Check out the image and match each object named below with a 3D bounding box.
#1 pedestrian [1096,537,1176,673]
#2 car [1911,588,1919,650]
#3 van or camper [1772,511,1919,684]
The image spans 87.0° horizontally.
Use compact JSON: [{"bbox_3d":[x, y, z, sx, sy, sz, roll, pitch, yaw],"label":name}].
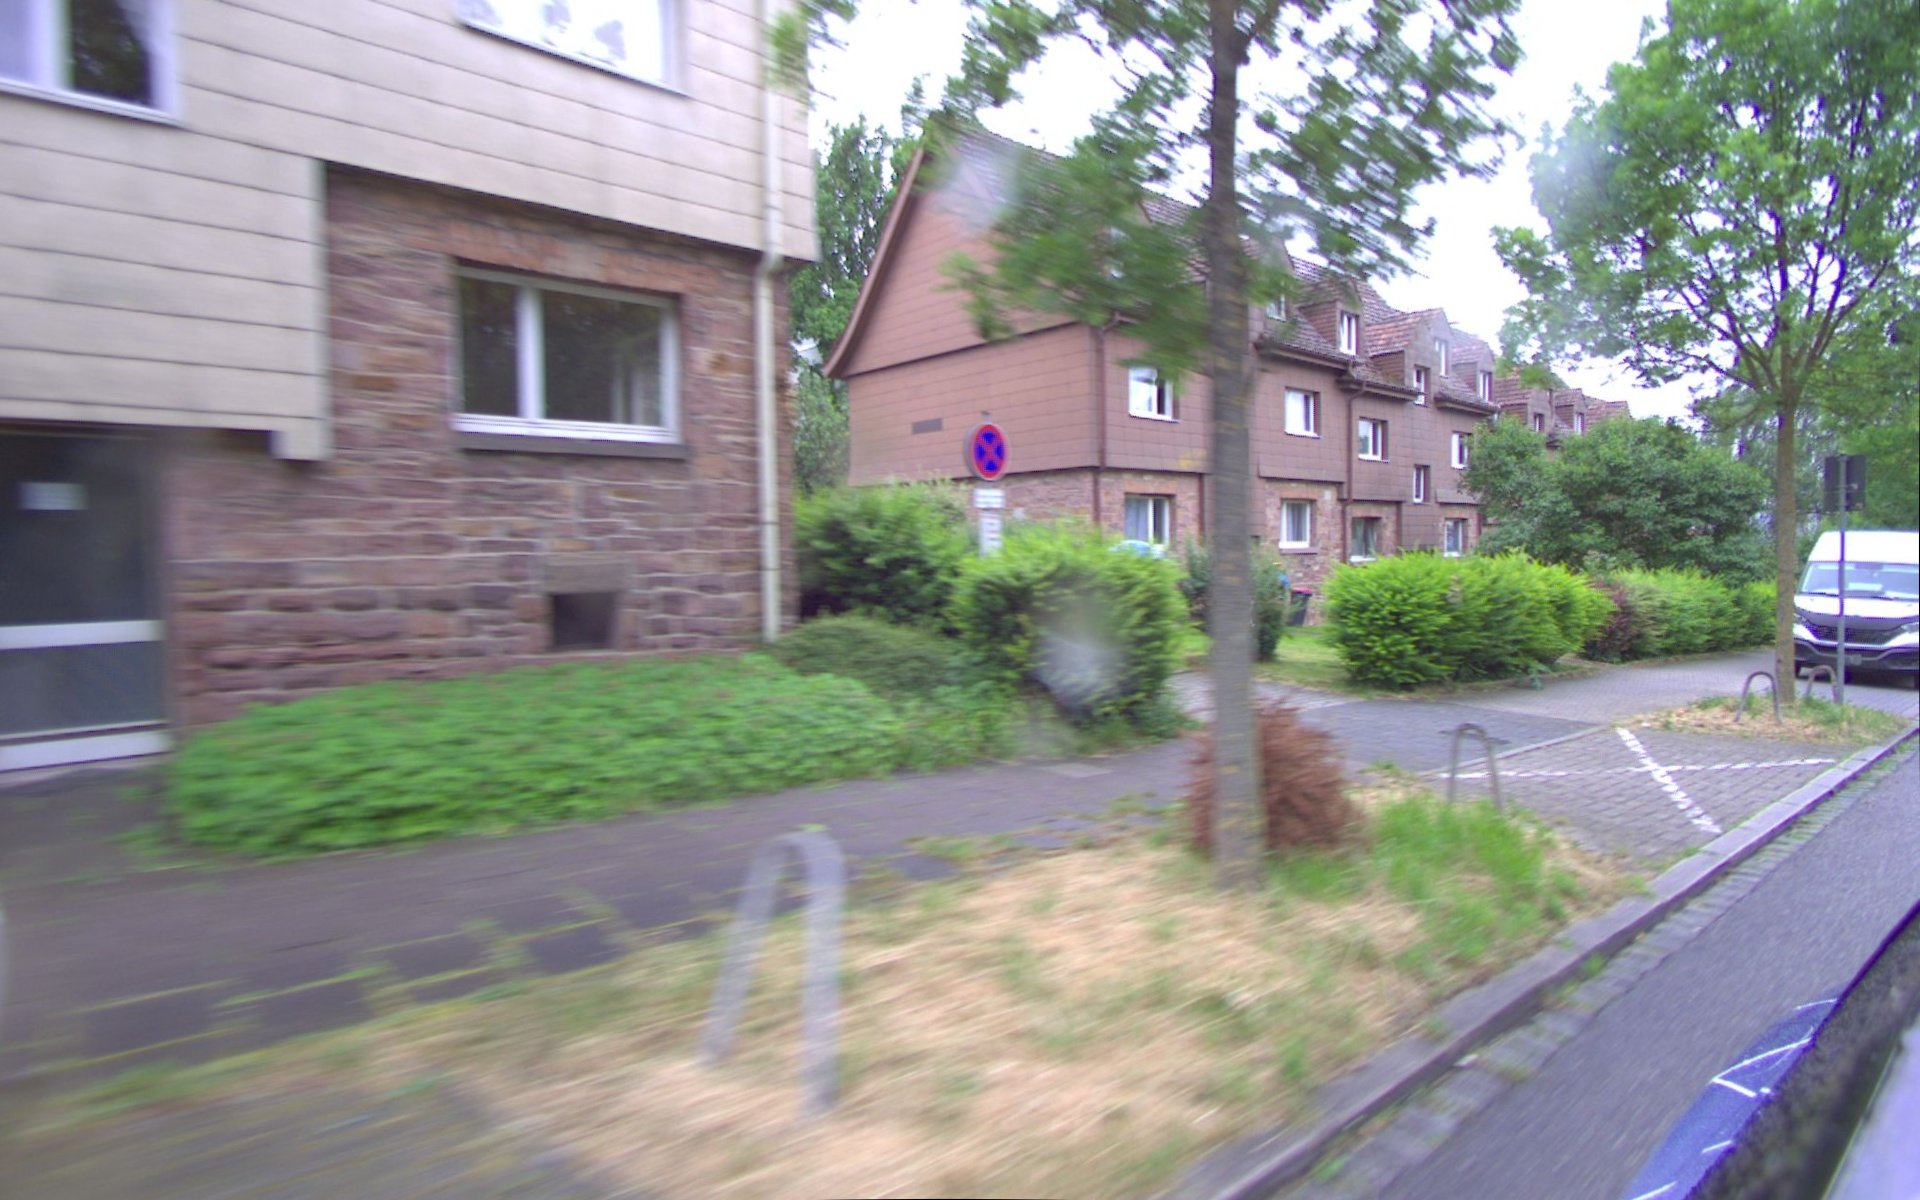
[{"bbox_3d":[2.283,0.048,13.138,0.641,1.700,0.710,1,2,-35],"label":"pedestrian"},{"bbox_3d":[25.688,0.542,25.677,3.762,1.546,1.674,0,4,-39],"label":"car"},{"bbox_3d":[17.207,-0.055,18.546,7.172,2.683,2.203,1,3,-41],"label":"van or camper"}]
